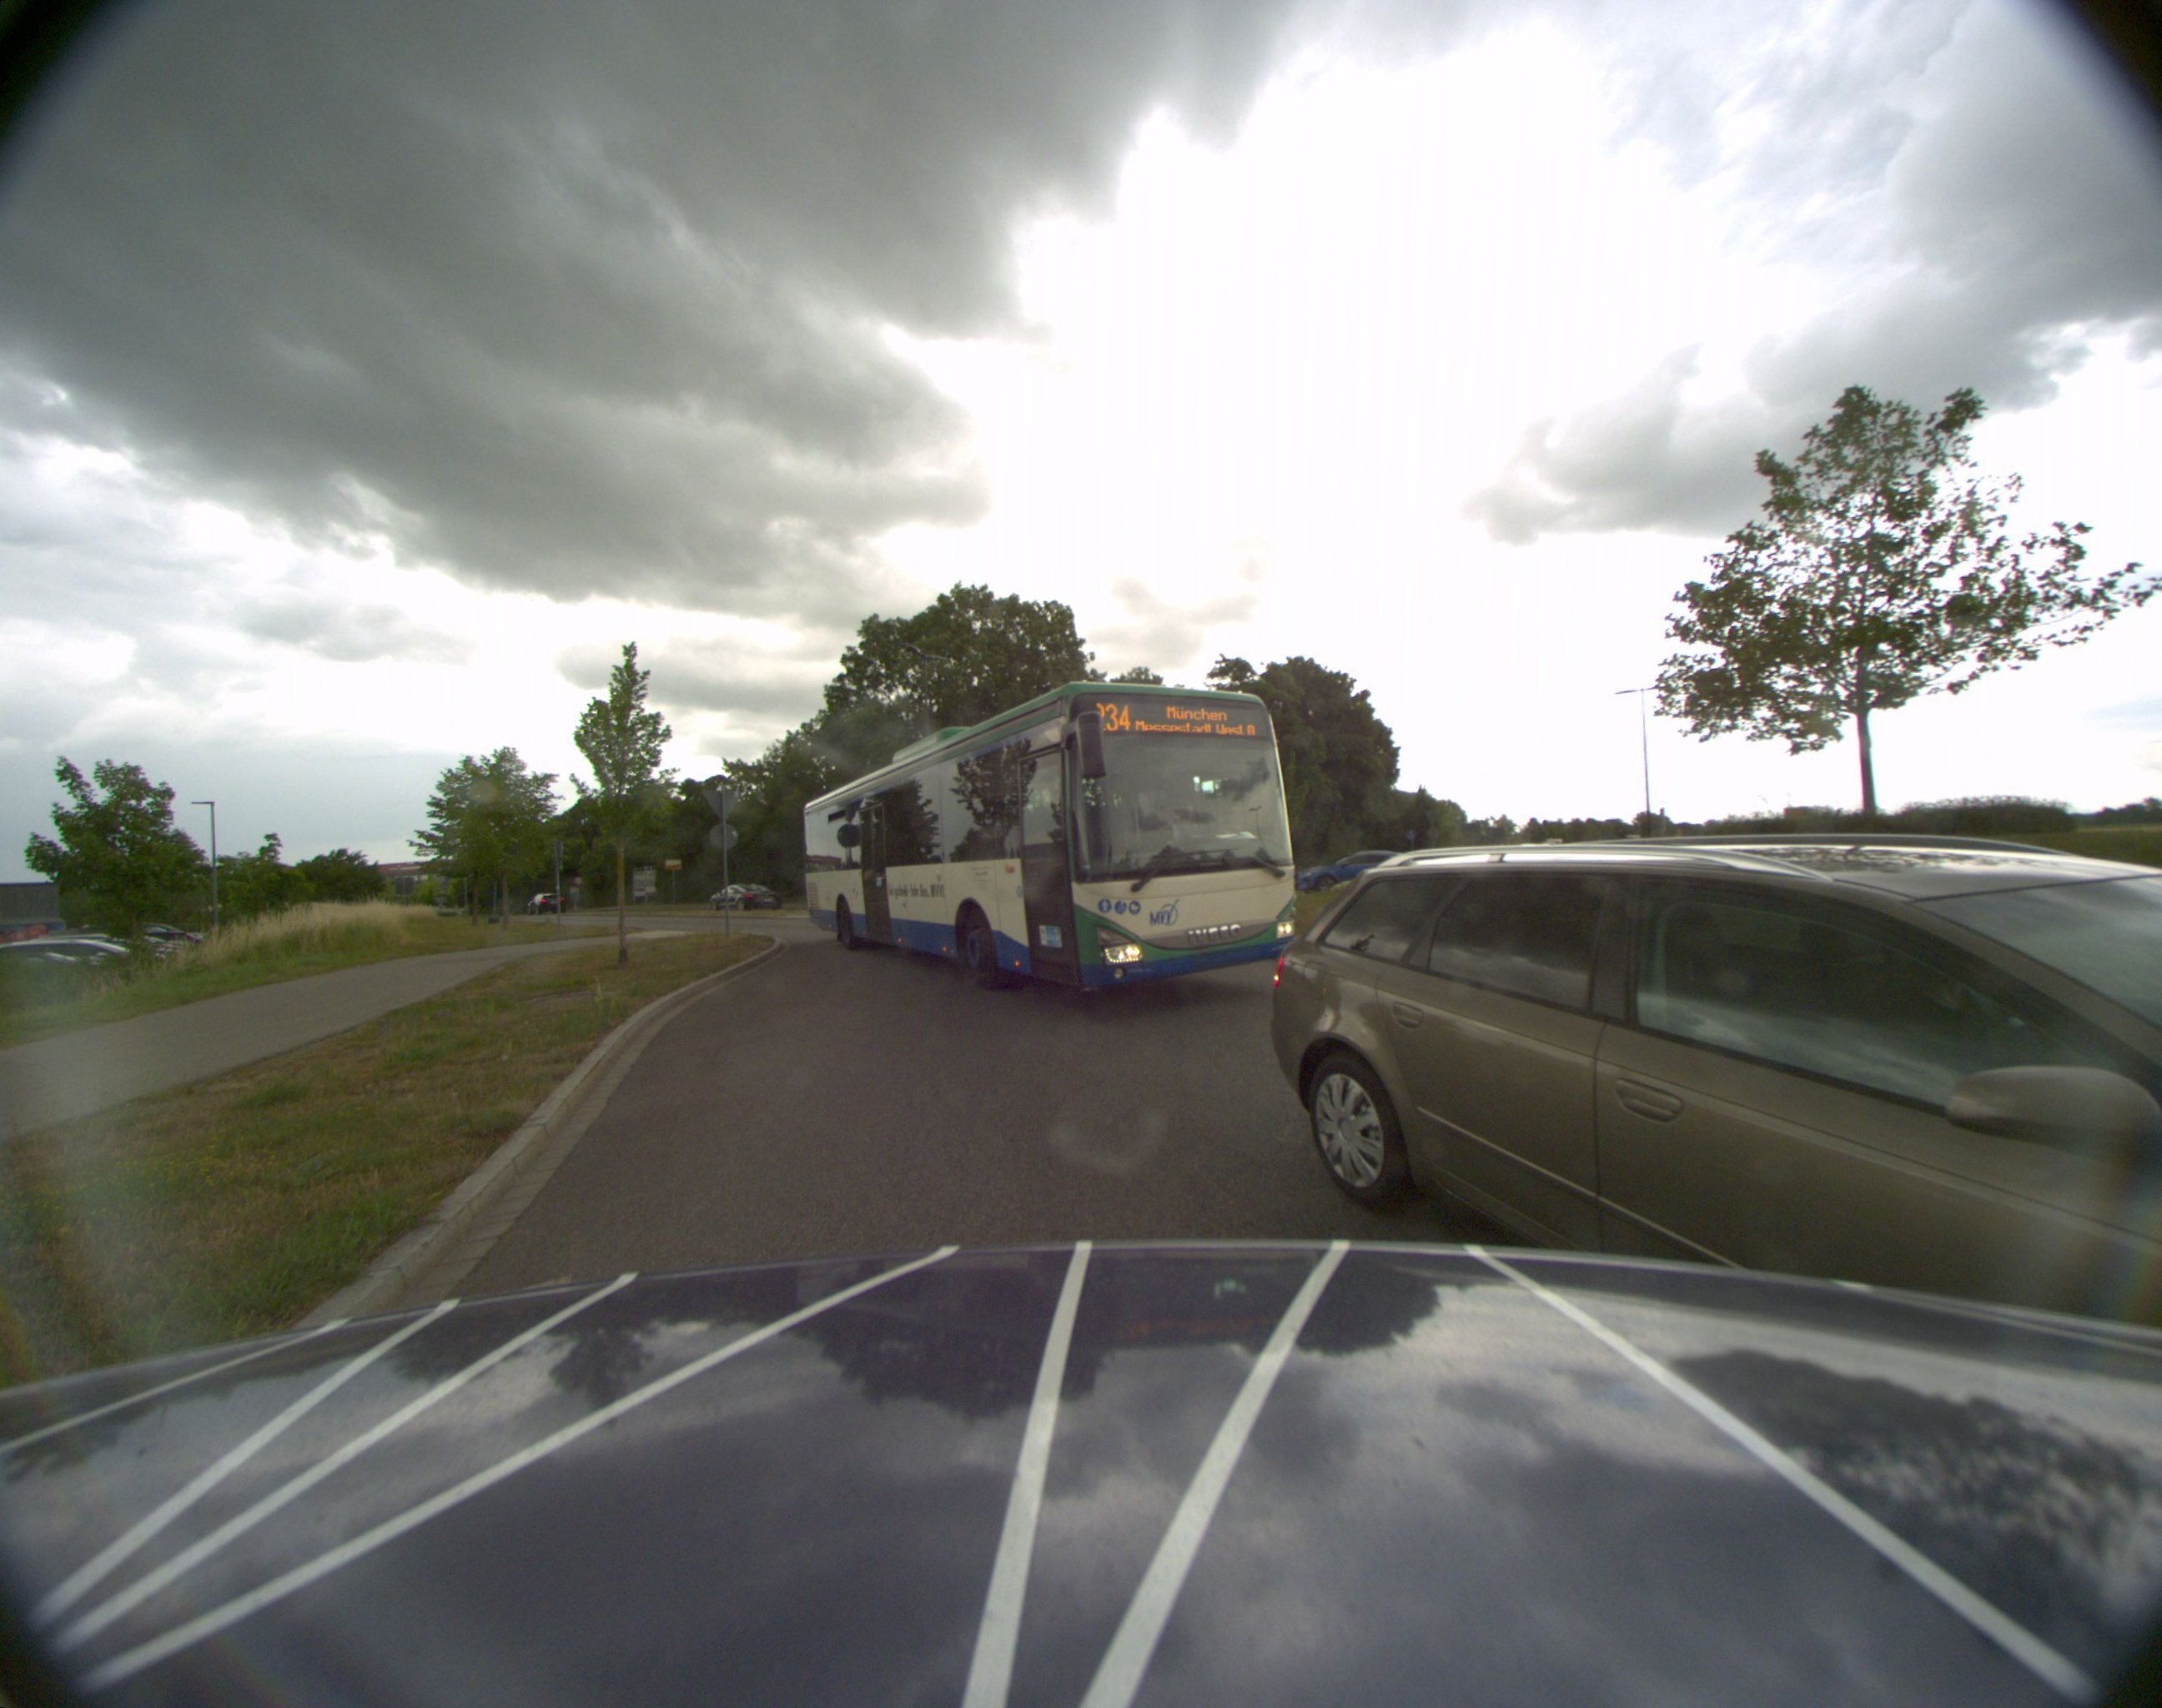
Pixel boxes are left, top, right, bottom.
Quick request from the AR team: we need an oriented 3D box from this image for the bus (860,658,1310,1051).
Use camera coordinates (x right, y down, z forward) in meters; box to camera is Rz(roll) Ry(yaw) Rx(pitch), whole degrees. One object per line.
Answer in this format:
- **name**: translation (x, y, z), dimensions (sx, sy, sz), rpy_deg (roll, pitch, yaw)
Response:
- **bus**: translation (-0.567, -0.069, 9.689), dimensions (2.528, 3.240, 6.533), rpy_deg (-5, 3, -31)

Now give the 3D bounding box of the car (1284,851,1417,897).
- **car**: translation (9.540, 0.702, 27.148), dimensions (4.079, 1.422, 1.763), rpy_deg (-2, 0, 0)

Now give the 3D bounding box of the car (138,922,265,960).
- **car**: translation (-44.876, 4.400, 38.883), dimensions (3.896, 1.455, 1.693), rpy_deg (-2, 0, -35)

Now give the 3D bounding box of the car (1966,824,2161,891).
- **car**: translation (28.072, 0.147, 21.516), dimensions (1.633, 1.510, 3.397), rpy_deg (-11, 0, -14)

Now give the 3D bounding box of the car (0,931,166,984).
- **car**: translation (-36.750, 3.747, 27.741), dimensions (3.896, 1.455, 1.693), rpy_deg (-2, 0, -35)

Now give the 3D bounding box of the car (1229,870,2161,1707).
- **car**: translation (2.247, 0.816, 1.938), dimensions (1.784, 1.456, 4.534), rpy_deg (-1, 0, -16)

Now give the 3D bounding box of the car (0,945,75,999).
- **car**: translation (-34.696, 3.791, 23.533), dimensions (3.896, 1.455, 1.693), rpy_deg (-2, 0, -35)

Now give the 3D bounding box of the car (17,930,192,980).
- **car**: translation (-38.630, 3.956, 30.217), dimensions (3.896, 1.455, 1.693), rpy_deg (-2, 0, -35)

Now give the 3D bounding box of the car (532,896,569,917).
- **car**: translation (-42.791, 4.220, 61.259), dimensions (3.572, 1.496, 1.647), rpy_deg (-3, 0, 43)

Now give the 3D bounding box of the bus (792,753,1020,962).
- **bus**: translation (-3.649, -0.022, 14.785), dimensions (2.528, 3.240, 5.447), rpy_deg (-5, 3, -31)

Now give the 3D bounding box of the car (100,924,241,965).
- **car**: translation (-42.583, 4.197, 35.675), dimensions (3.896, 1.455, 1.693), rpy_deg (-2, 0, -35)

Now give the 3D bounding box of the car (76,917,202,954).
- **car**: translation (-48.725, 4.196, 39.430), dimensions (1.879, 1.435, 4.008), rpy_deg (-3, 0, 40)

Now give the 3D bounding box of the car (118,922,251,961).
- **car**: translation (-44.006, 4.268, 37.429), dimensions (3.896, 1.455, 1.693), rpy_deg (-2, 0, -35)

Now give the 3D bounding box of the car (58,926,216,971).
- **car**: translation (-40.403, 4.011, 32.674), dimensions (3.896, 1.455, 1.693), rpy_deg (-2, 0, -35)

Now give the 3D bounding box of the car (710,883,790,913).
- **car**: translation (-15.782, 2.070, 36.179), dimensions (4.103, 1.299, 1.835), rpy_deg (-3, -2, 40)
